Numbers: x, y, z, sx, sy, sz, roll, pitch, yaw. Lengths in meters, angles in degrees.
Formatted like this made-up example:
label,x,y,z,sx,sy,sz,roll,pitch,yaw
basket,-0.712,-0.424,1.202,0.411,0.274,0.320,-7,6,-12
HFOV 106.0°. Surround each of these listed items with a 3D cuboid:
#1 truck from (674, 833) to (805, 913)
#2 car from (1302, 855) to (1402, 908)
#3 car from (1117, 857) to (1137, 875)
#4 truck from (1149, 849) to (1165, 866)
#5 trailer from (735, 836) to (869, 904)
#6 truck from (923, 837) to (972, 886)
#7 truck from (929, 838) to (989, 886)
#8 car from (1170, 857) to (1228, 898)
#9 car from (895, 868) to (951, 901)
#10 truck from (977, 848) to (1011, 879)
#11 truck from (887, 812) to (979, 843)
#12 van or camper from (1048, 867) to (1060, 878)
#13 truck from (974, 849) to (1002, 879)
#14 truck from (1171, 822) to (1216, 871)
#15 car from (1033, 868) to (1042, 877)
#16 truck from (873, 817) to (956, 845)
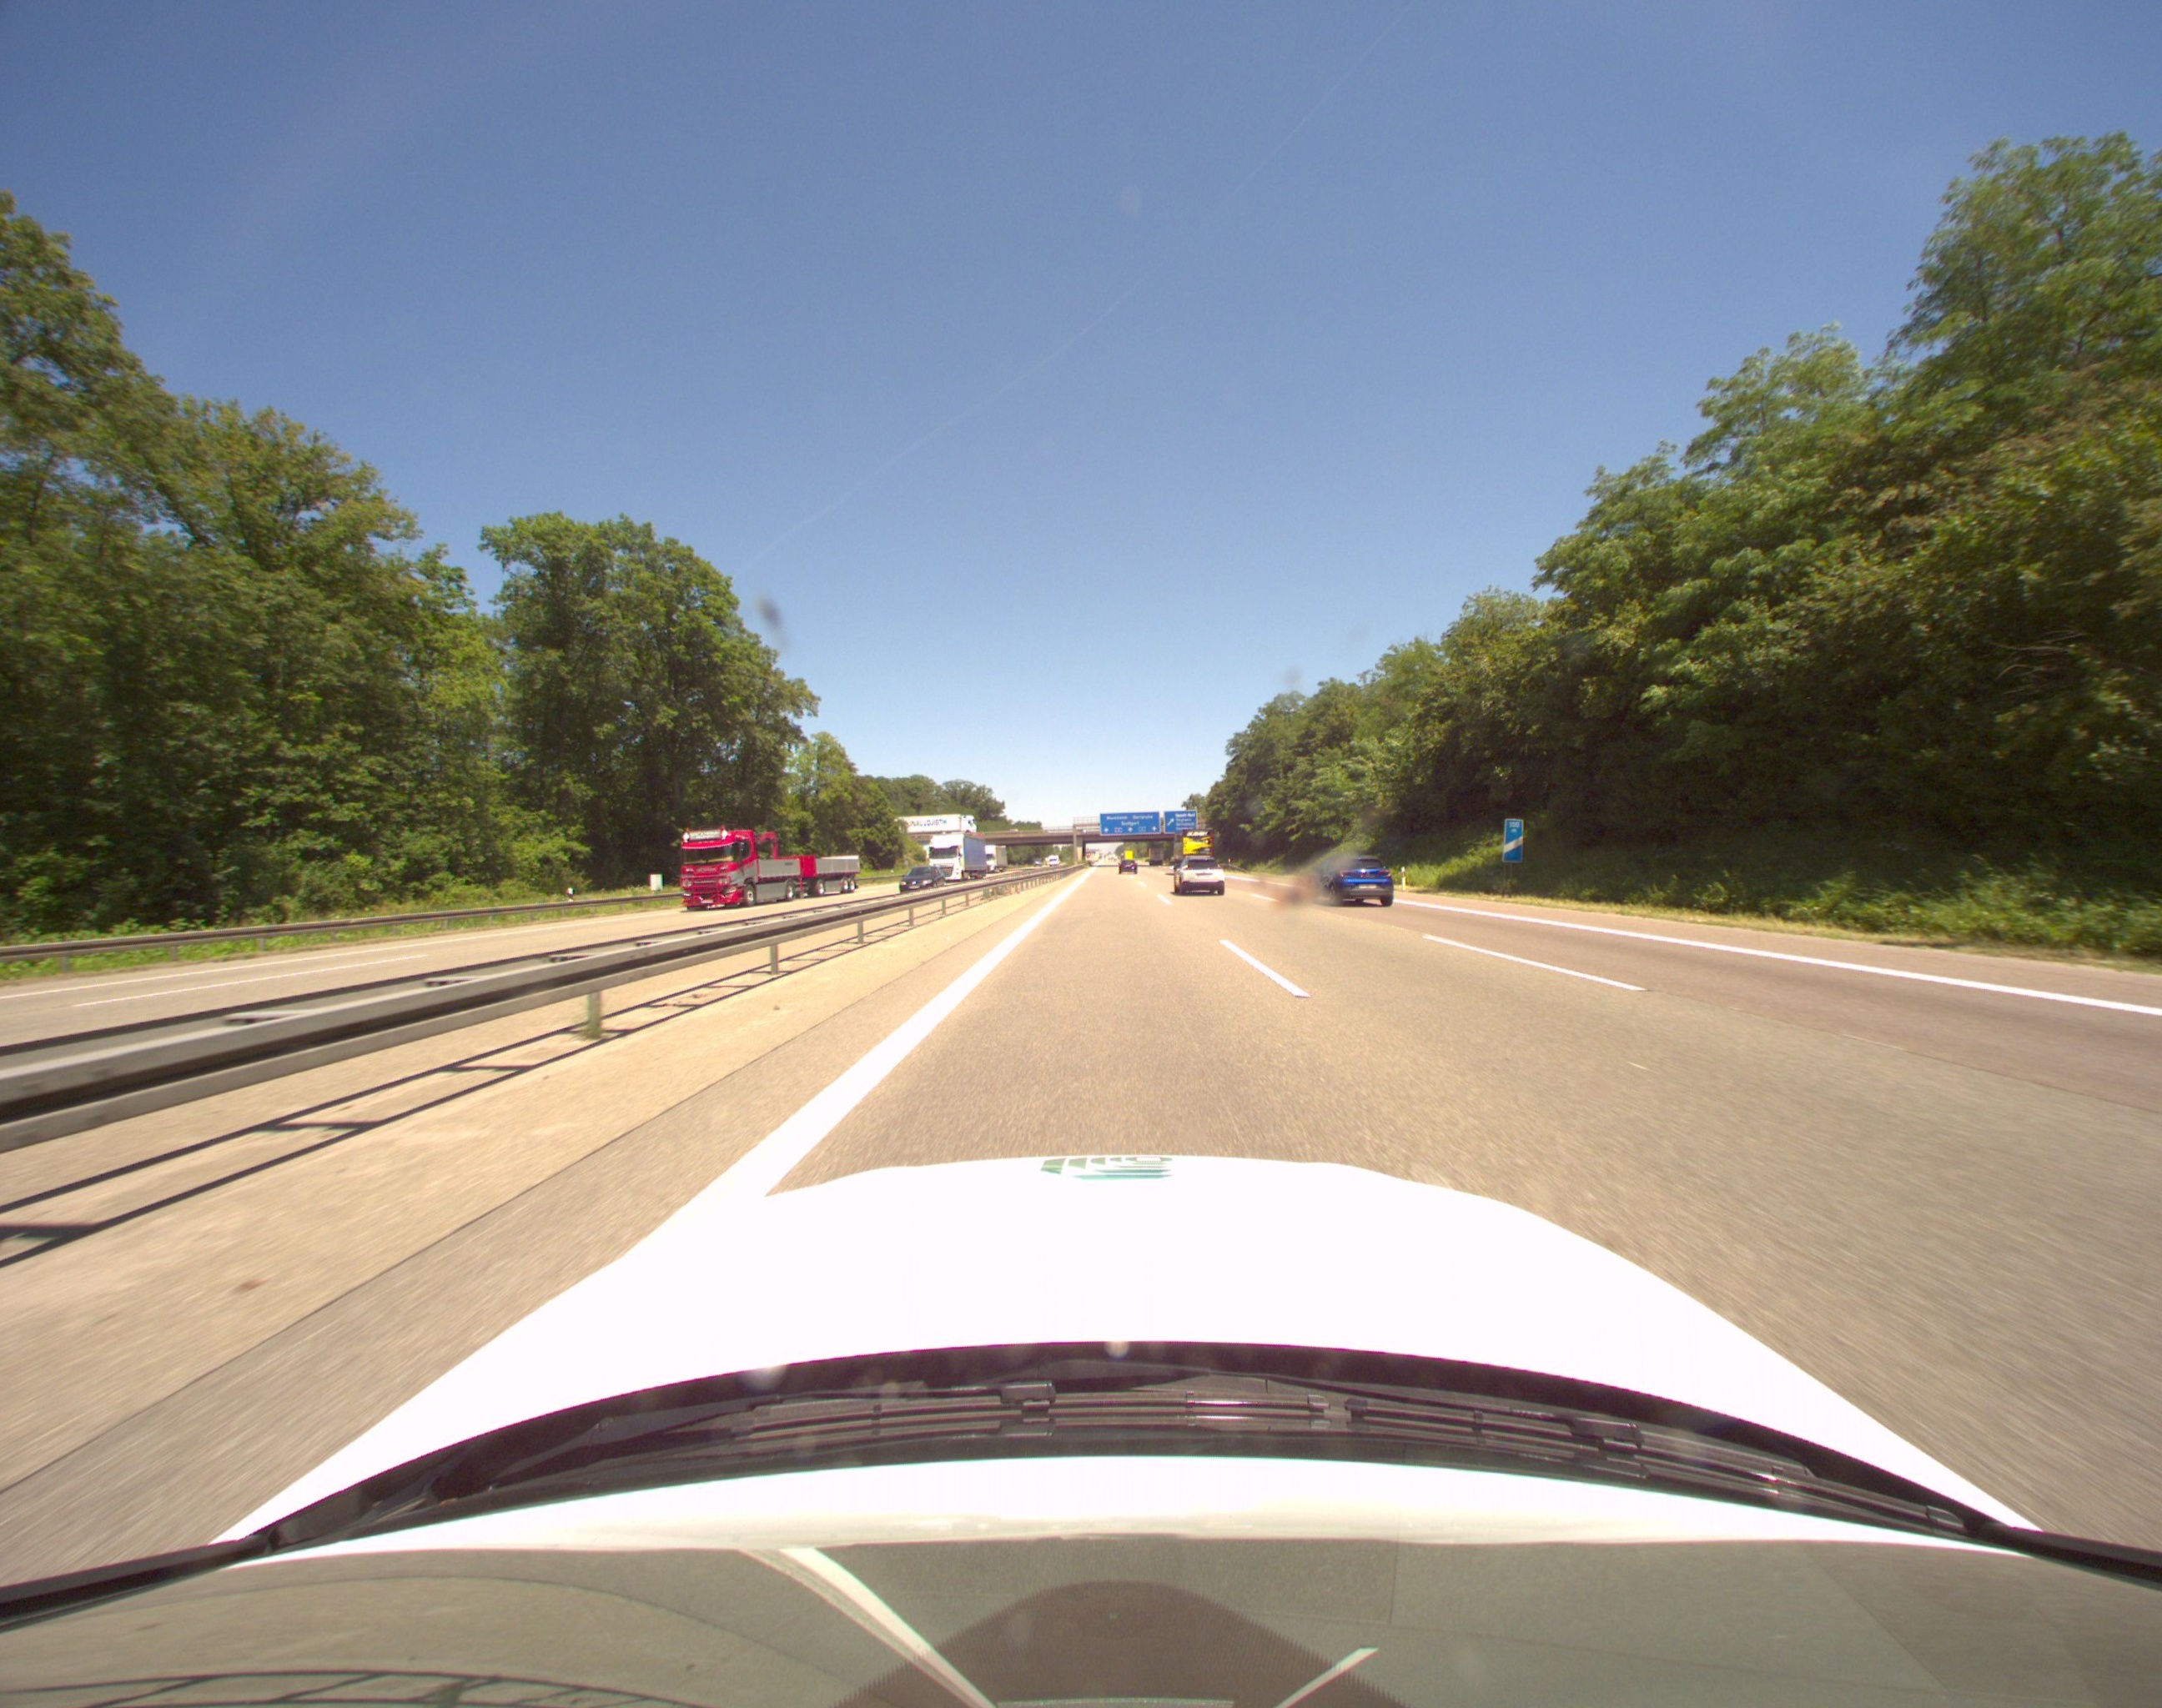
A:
label,x,y,z,sx,sy,sz,roll,pitch,yaw
truck,-15.890,0.859,38.662,2.738,3.394,7.664,0,-1,2
car,8.460,0.829,25.812,1.863,1.556,4.203,0,-1,2
car,4.464,1.193,79.420,1.820,1.706,4.001,0,-1,1
truck,14.979,0.770,159.982,3.013,3.320,10.788,0,-1,6
trailer,-15.632,0.910,47.275,2.769,3.394,13.295,0,-1,2
truck,-11.402,0.690,70.078,2.975,4.019,6.043,0,-1,2
truck,-11.197,0.782,76.355,2.975,4.019,13.942,0,-1,2
car,4.866,0.949,34.201,1.820,1.608,4.810,-1,-1,1
car,-8.057,1.516,41.922,1.800,1.591,4.671,0,-1,2
truck,-13.317,1.465,125.665,3.054,4.251,13.966,-4,-1,2
truck,-27.393,-4.893,151.129,16.426,5.566,3.171,0,-1,-4
van or camper,-6.923,4.846,212.066,2.583,2.907,7.236,0,-1,2
truck,-13.489,1.491,118.583,2.958,4.062,6.461,-4,-1,2
truck,10.093,-0.565,74.177,2.964,4.037,10.985,1,-1,2
car,-11.951,5.083,225.433,2.082,2.399,5.733,0,-1,0
truck,-34.072,-4.639,167.643,16.439,5.566,3.168,0,-1,-6
